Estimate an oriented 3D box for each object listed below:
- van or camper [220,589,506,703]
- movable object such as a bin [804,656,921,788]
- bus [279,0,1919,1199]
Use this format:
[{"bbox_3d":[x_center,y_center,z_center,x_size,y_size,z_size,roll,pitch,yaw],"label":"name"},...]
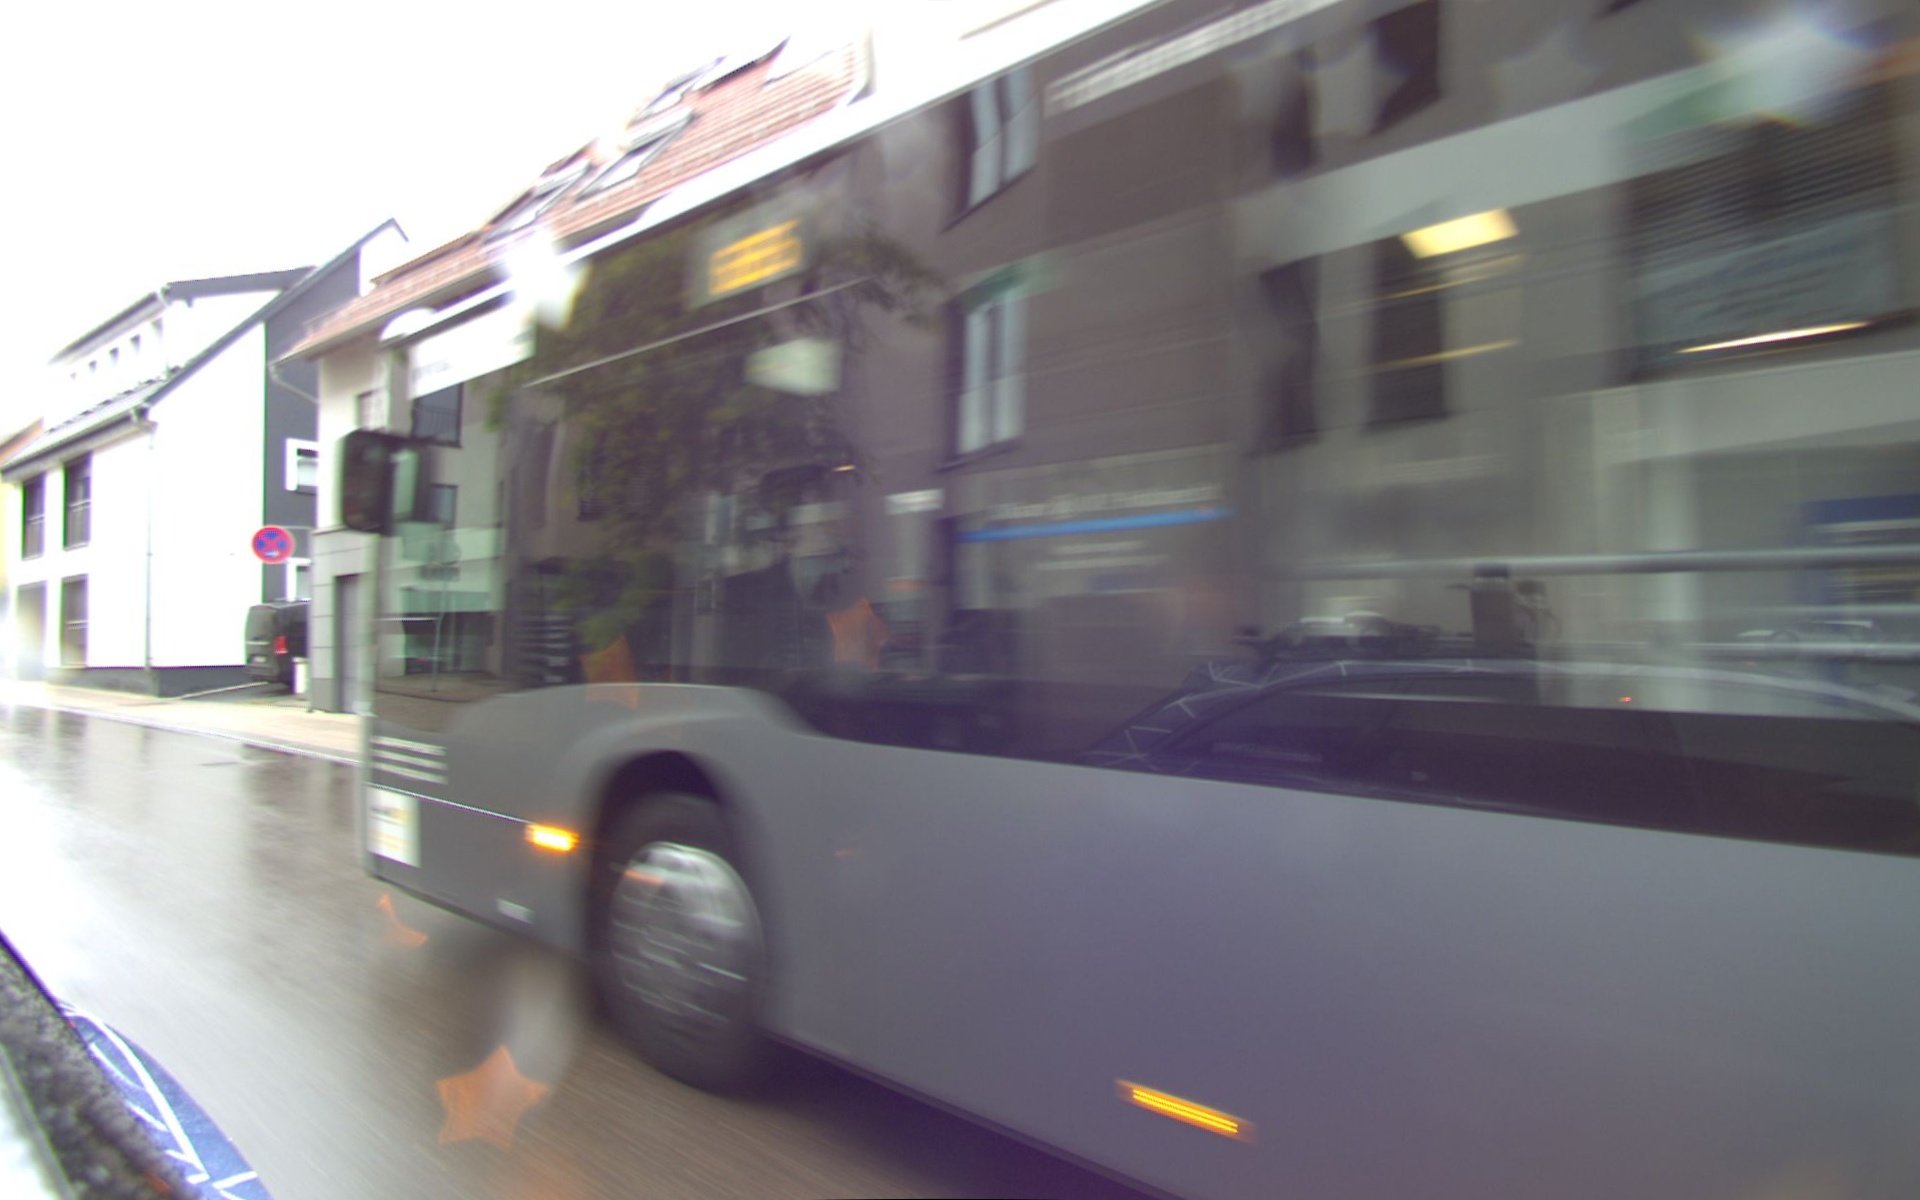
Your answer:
[{"bbox_3d":[-12.965,0.881,22.331,1.996,1.947,4.982,-1,3,35],"label":"van or camper"},{"bbox_3d":[-0.862,1.052,9.033,0.700,1.067,0.786,-1,-1,36],"label":"movable object such as a bin"},{"bbox_3d":[1.638,-0.037,2.572,10.937,3.103,2.696,-2,-2,40],"label":"bus"}]
